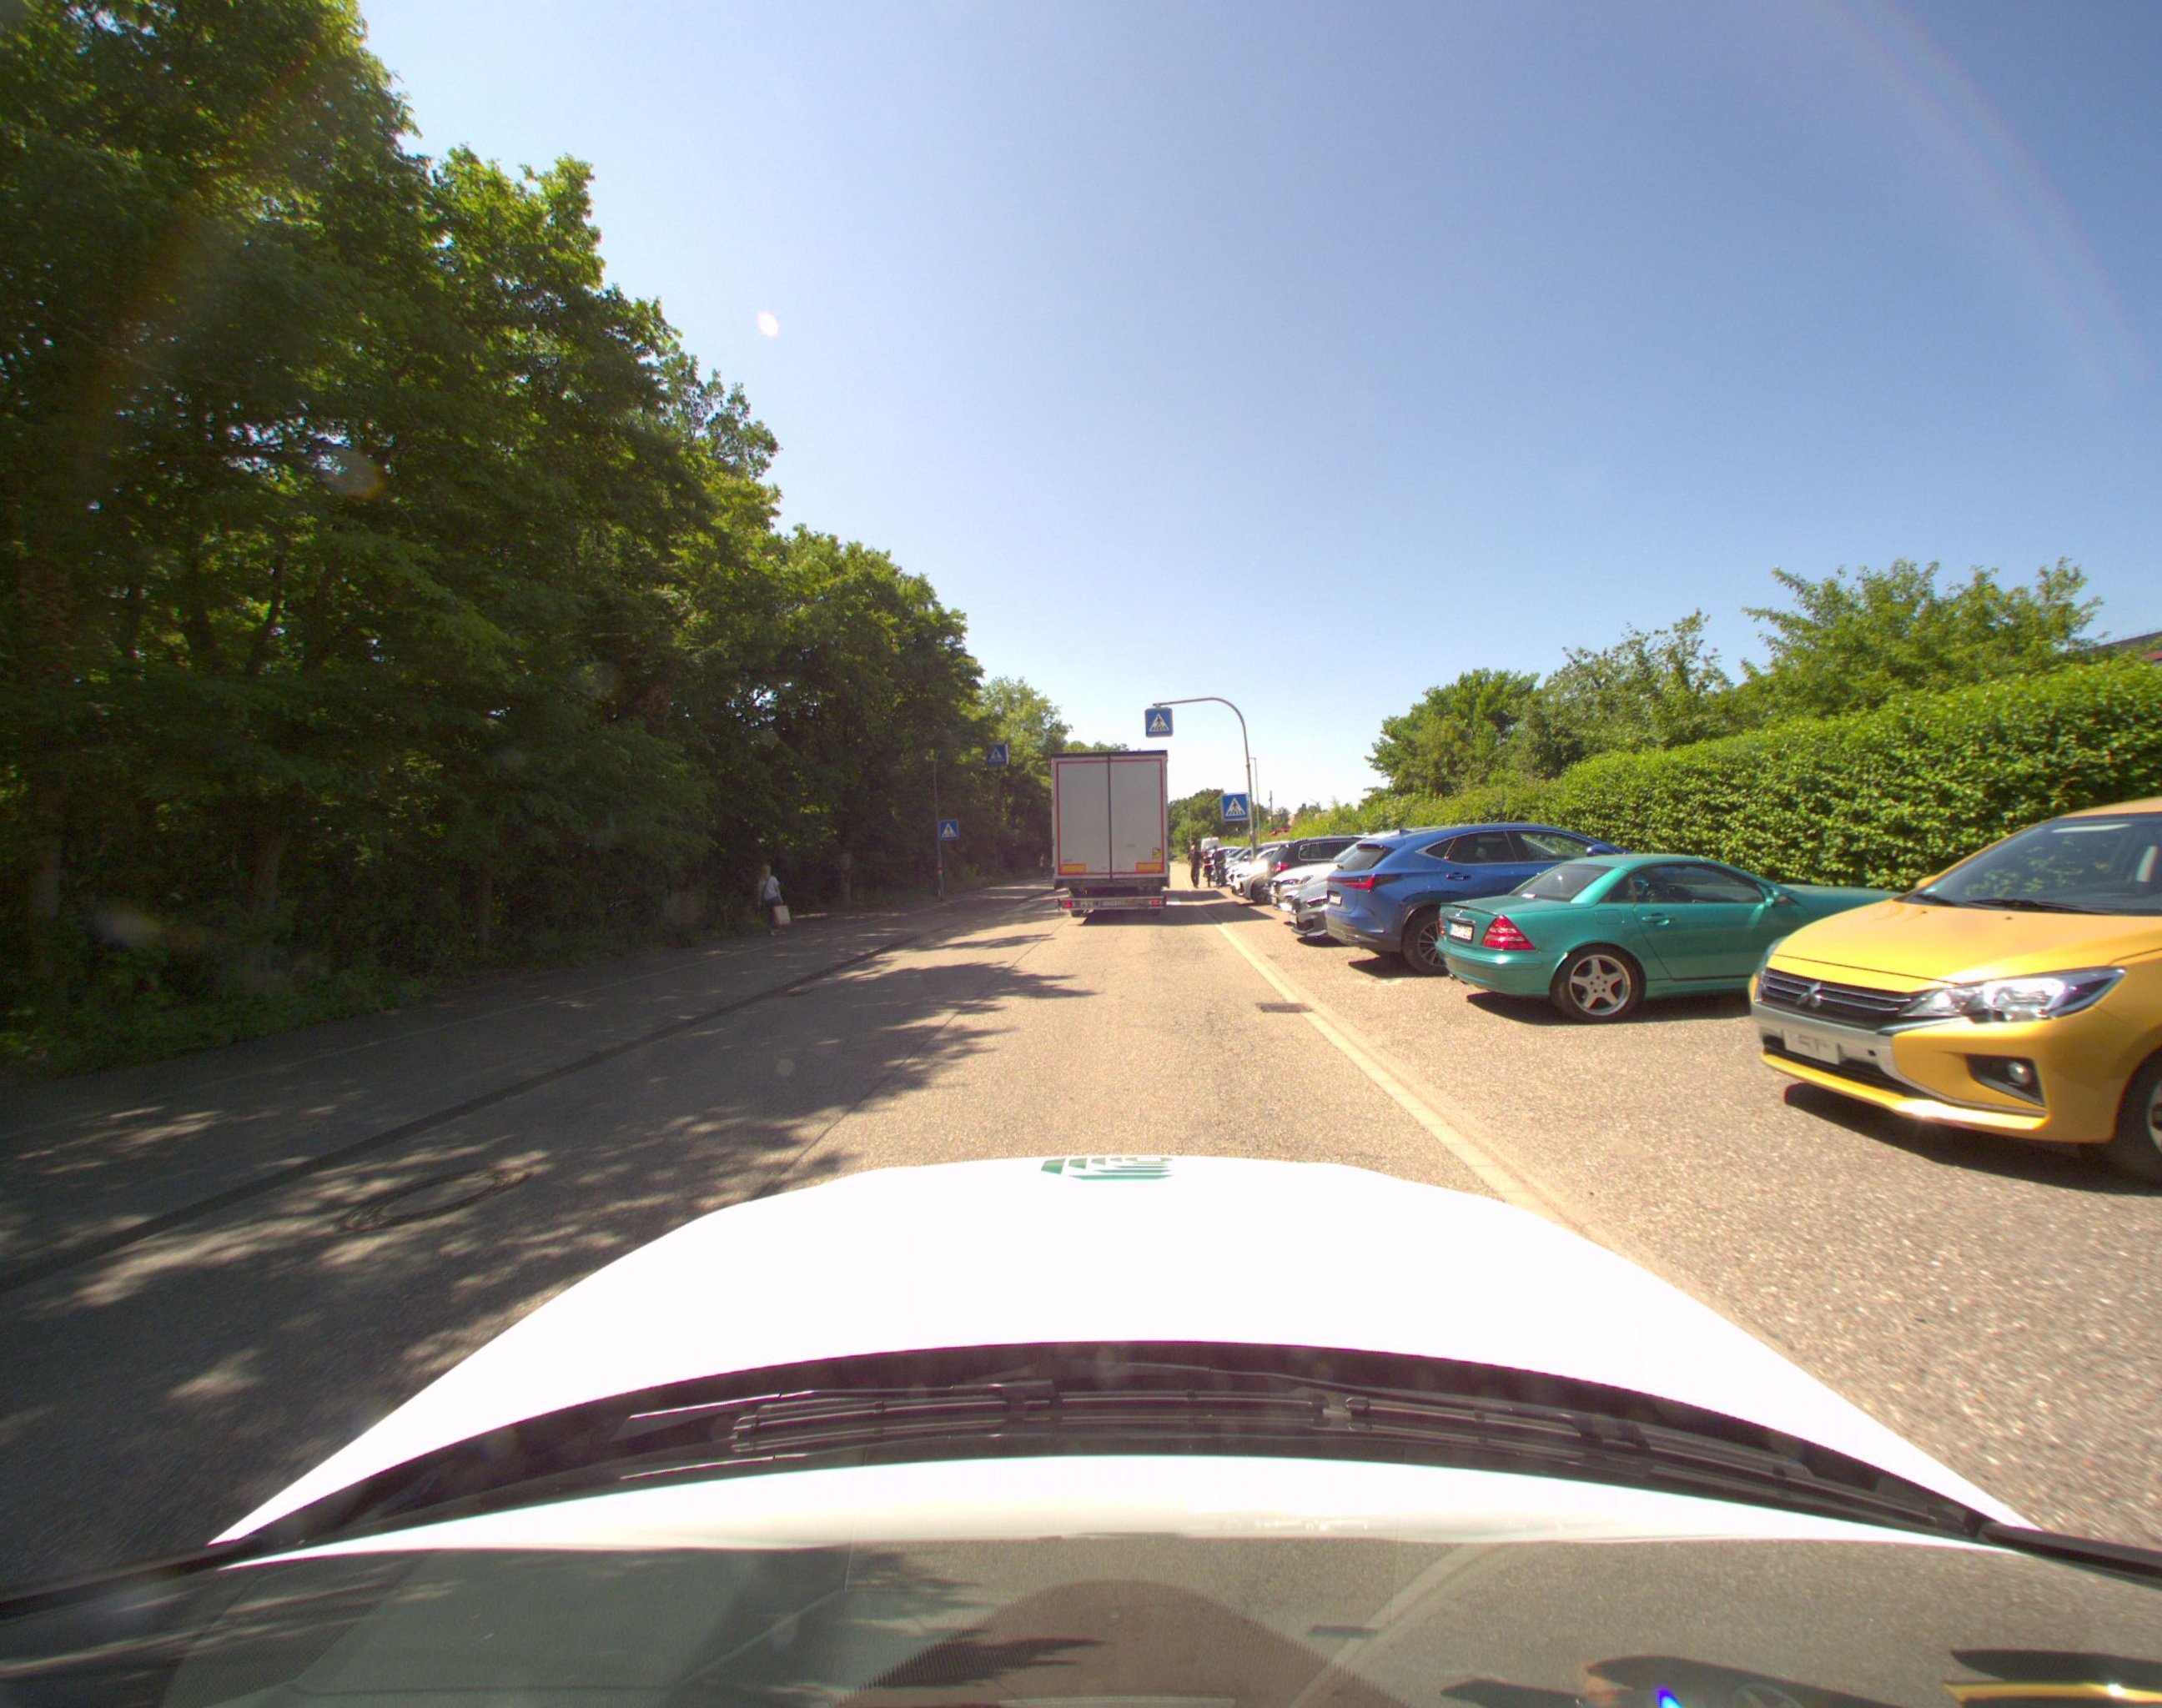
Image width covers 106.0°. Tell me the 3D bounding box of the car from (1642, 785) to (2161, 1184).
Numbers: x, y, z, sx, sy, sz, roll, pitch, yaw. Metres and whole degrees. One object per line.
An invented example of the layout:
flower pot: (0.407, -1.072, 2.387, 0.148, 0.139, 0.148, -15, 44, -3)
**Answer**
car: (5.247, 0.393, 3.883, 3.784, 1.455, 1.777, -5, -1, 4)

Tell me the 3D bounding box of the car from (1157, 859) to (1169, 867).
car: (16.120, 1.751, 159.821, 1.769, 1.486, 4.014, -2, 0, 12)

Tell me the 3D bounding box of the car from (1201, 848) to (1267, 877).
car: (10.084, 0.565, 53.759, 3.943, 1.619, 1.813, -3, -1, 0)

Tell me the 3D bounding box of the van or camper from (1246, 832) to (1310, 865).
van or camper: (22.975, -0.610, 95.069, 6.989, 3.587, 2.785, -2, -1, 17)

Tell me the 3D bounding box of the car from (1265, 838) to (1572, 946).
car: (5.230, 0.563, 12.955, 4.123, 1.439, 1.811, -2, -1, -5)

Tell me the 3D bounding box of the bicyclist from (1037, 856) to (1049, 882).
bicyclist: (-2.637, 1.052, 56.714, 0.713, 1.758, 0.797, -2, -1, 7)

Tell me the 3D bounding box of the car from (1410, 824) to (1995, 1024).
car: (5.083, 0.565, 7.111, 3.718, 1.268, 1.629, -5, -1, 4)

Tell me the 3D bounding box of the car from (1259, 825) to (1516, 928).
car: (5.757, 0.417, 15.721, 4.220, 1.654, 1.900, -3, -1, 1)

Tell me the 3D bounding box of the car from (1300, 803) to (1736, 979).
car: (5.044, 0.420, 9.894, 4.221, 1.634, 1.824, -4, -1, 2)

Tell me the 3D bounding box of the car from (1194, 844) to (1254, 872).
car: (10.488, 0.323, 59.909, 3.943, 1.765, 1.813, -4, -1, 0)

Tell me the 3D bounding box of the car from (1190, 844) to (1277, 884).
car: (7.746, 0.488, 41.490, 3.948, 1.668, 1.811, -5, 1, -4)

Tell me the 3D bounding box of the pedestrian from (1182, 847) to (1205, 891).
pedestrian: (4.933, 0.644, 35.554, 0.817, 1.834, 0.794, -5, -1, 9)

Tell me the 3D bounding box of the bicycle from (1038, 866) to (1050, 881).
bicycle: (-2.547, 1.337, 56.697, 0.451, 1.047, 2.207, -1, -1, 6)

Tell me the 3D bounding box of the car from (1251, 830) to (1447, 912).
car: (6.386, 0.412, 19.775, 4.107, 1.657, 1.889, -3, -1, 4)

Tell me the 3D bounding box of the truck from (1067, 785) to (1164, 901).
truck: (1.428, -0.342, 30.039, 3.099, 3.725, 6.422, -1, -1, 5)

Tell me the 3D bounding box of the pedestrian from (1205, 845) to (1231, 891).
pedestrian: (5.642, 0.591, 33.610, 0.902, 1.798, 0.937, -5, -1, 9)

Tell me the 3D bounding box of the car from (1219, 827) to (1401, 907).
car: (6.228, 0.362, 22.541, 4.389, 1.698, 1.877, -5, -1, 1)

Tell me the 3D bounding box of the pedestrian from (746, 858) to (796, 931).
pedestrian: (-7.100, 0.916, 18.680, 0.825, 1.622, 0.783, -1, -1, 1)

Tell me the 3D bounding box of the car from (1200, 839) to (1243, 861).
car: (13.836, -0.364, 80.495, 3.936, 1.798, 1.816, -5, -3, 6)

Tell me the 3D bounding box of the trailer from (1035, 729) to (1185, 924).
trailer: (0.963, -0.578, 23.309, 3.099, 4.102, 11.546, -2, 0, 3)

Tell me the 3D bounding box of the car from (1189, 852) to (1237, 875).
car: (11.761, 0.839, 72.825, 3.943, 1.668, 1.813, -5, -1, 0)

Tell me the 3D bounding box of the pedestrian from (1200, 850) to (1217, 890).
pedestrian: (5.413, 0.682, 34.599, 0.586, 1.615, 0.746, -5, -1, 9)

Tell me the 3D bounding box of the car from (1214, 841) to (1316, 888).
car: (7.988, 0.478, 35.571, 3.946, 1.668, 1.812, -5, -1, -2)

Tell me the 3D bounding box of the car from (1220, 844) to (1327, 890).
car: (7.642, 0.527, 32.703, 3.934, 1.480, 1.818, -5, -1, 8)
